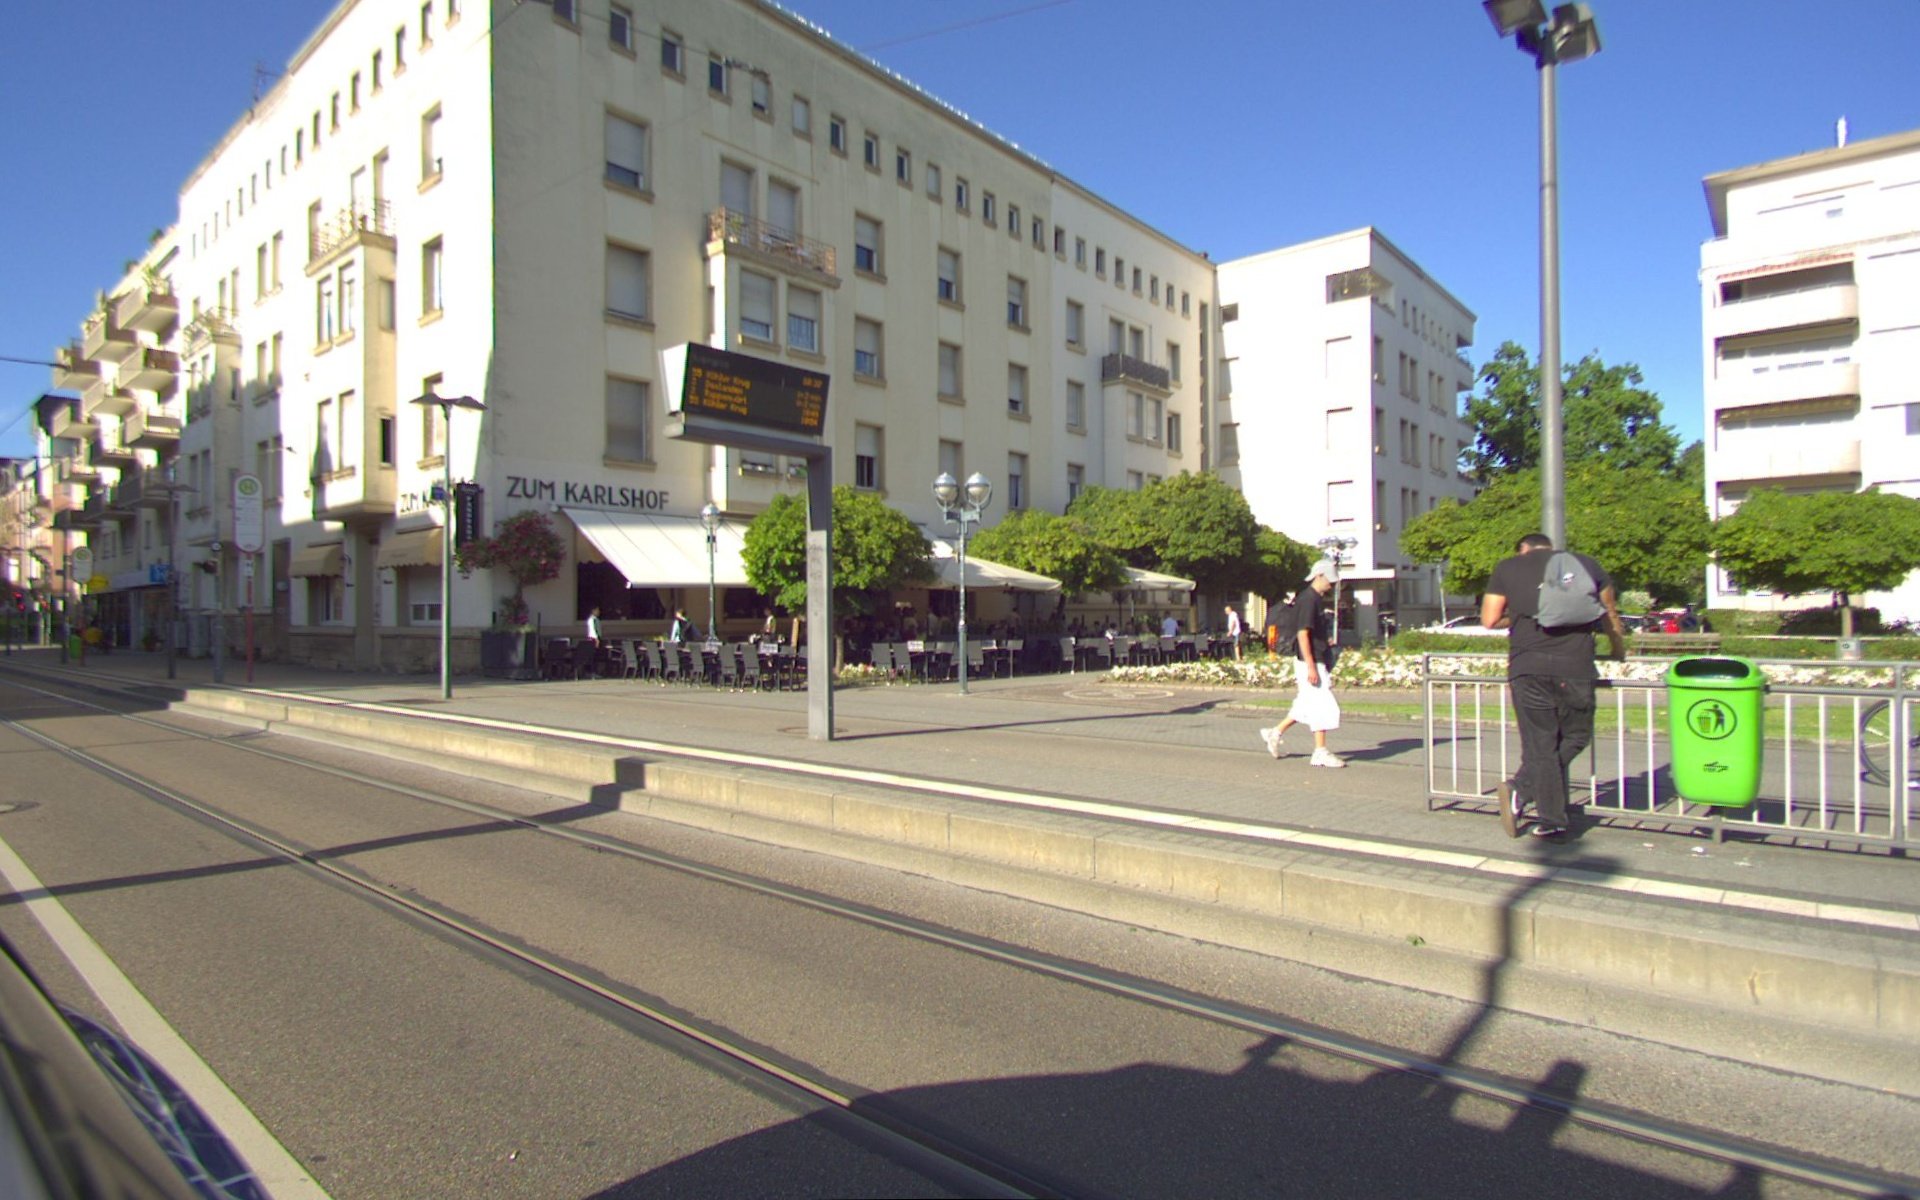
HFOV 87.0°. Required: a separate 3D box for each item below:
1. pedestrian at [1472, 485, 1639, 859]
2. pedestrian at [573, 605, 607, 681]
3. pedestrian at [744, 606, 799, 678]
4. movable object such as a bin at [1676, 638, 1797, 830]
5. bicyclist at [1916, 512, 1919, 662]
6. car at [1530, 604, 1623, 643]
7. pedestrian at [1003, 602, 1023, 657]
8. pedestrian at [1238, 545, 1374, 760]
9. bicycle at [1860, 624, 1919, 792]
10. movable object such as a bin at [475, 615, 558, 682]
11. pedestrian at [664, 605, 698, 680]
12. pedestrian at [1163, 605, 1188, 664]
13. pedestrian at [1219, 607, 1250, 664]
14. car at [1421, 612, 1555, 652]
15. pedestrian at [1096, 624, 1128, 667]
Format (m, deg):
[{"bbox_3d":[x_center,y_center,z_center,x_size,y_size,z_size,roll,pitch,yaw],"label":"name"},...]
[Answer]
[{"bbox_3d":[2.998,0.345,5.101,0.607,1.731,0.542,-2,-4,43],"label":"pedestrian"},{"bbox_3d":[-8.313,0.964,22.720,0.662,1.657,0.753,0,-4,-22],"label":"pedestrian"},{"bbox_3d":[-4.442,0.979,23.907,0.755,1.657,1.054,-1,-1,36],"label":"pedestrian"},{"bbox_3d":[3.744,0.619,4.882,0.416,0.866,0.332,-2,-2,44],"label":"movable object such as a bin"},{"bbox_3d":[7.348,0.241,6.828,1.092,1.807,0.996,-1,-1,33],"label":"bicyclist"},{"bbox_3d":[24.462,0.923,40.176,2.932,1.497,1.399,-2,-1,41],"label":"car"},{"bbox_3d":[1.790,1.006,34.286,0.641,1.837,0.576,-1,-1,5],"label":"pedestrian"},{"bbox_3d":[2.888,0.434,8.572,0.965,1.693,0.992,0,-2,13],"label":"pedestrian"},{"bbox_3d":[7.436,0.727,6.740,2.030,1.134,0.706,-1,-1,33],"label":"bicycle"},{"bbox_3d":[-9.684,1.036,22.108,1.127,1.410,1.302,-1,-1,40],"label":"movable object such as a bin"},{"bbox_3d":[-6.355,0.972,23.101,0.663,1.657,0.678,-1,-4,-9],"label":"pedestrian"},{"bbox_3d":[6.631,1.074,31.141,0.677,1.750,0.671,-3,-4,14],"label":"pedestrian"},{"bbox_3d":[8.610,1.133,31.793,0.710,1.750,0.673,-2,-4,1],"label":"pedestrian"},{"bbox_3d":[18.073,1.077,34.679,3.713,1.310,1.973,-2,-1,41],"label":"car"},{"bbox_3d":[4.572,1.372,30.443,0.672,1.280,0.636,-5,-5,36],"label":"pedestrian"}]
